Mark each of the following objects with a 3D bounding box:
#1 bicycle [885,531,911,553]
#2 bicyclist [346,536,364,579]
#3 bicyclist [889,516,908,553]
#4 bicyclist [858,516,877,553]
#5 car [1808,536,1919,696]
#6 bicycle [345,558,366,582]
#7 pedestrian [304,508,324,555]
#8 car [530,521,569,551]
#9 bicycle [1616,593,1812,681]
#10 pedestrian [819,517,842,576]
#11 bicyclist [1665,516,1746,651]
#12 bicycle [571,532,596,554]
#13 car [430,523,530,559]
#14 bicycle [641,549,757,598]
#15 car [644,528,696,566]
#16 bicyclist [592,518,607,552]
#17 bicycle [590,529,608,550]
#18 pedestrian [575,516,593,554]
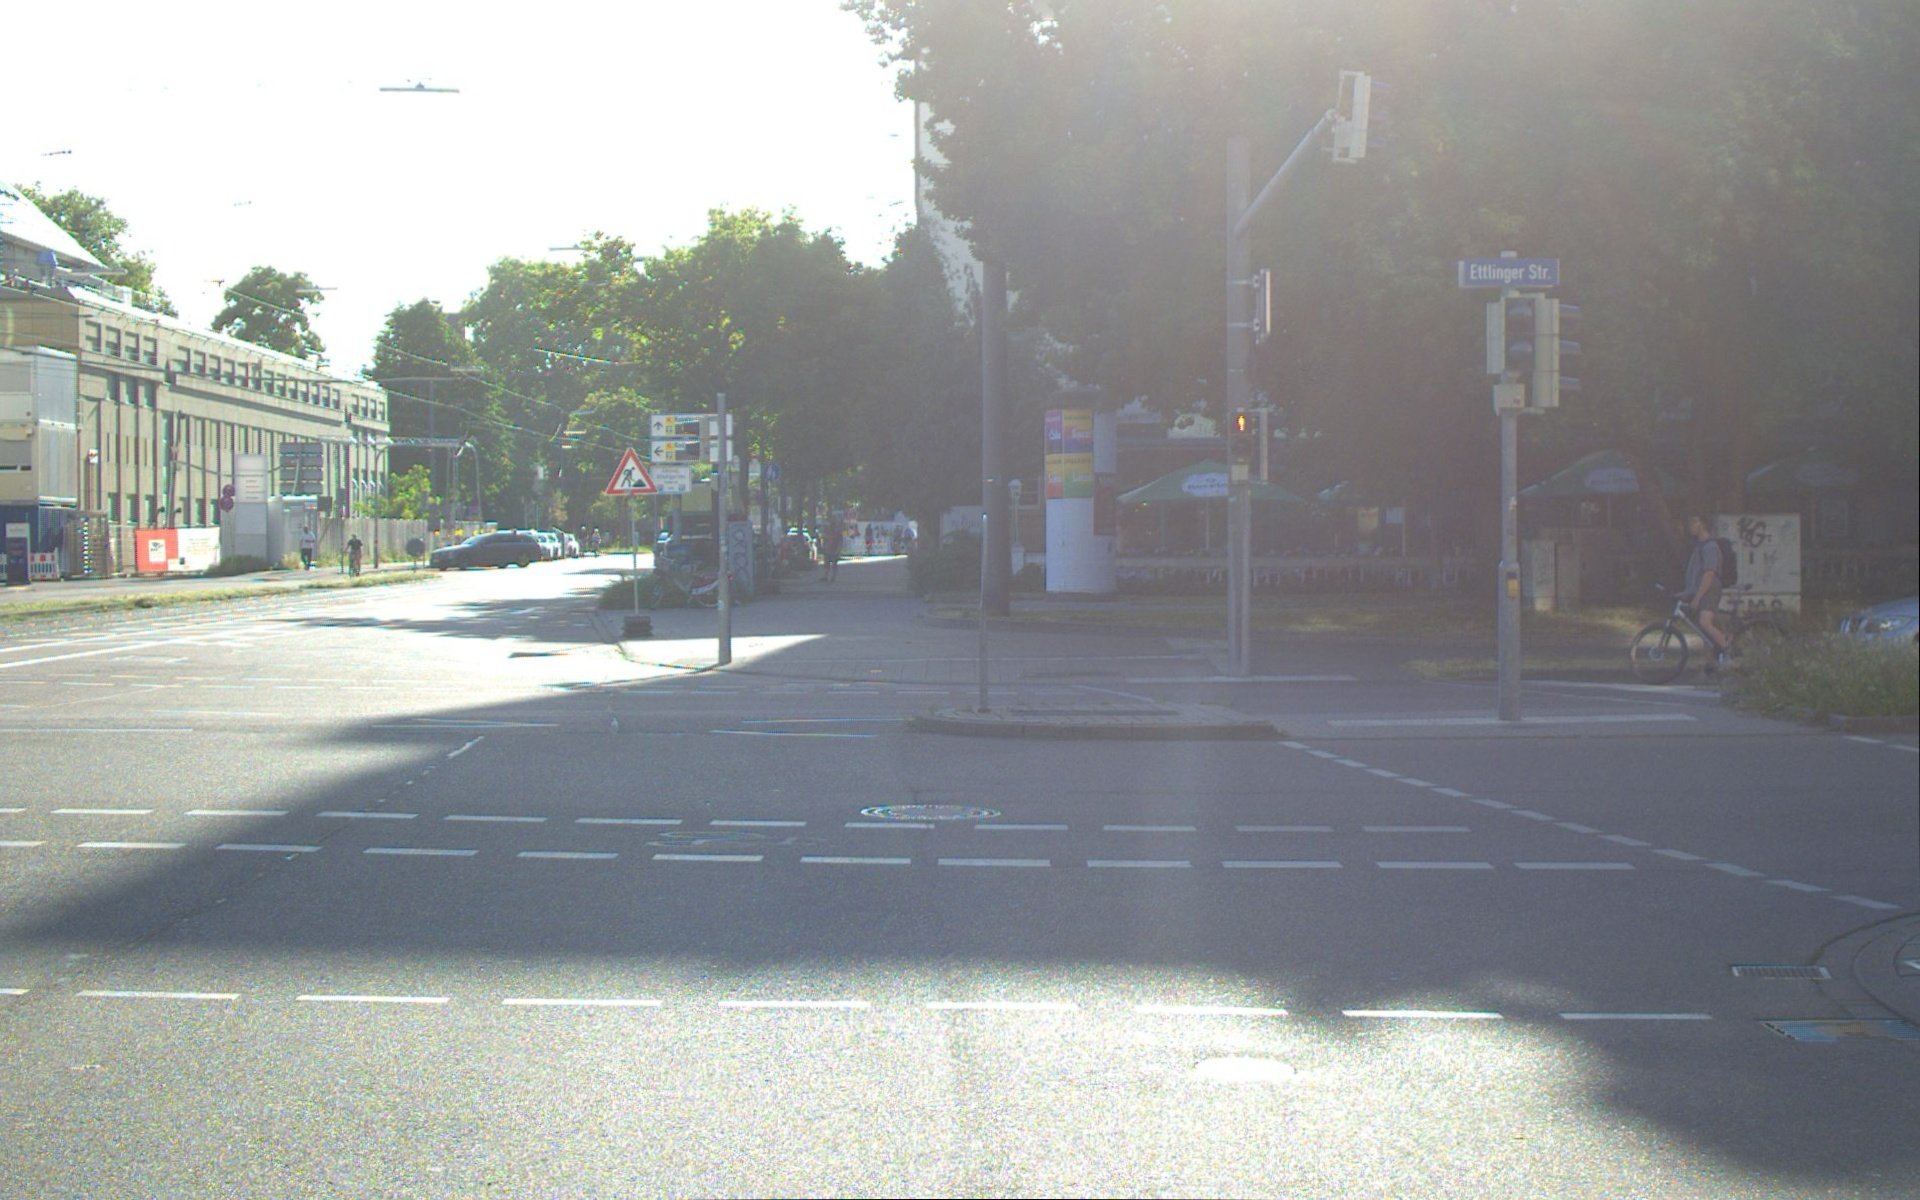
[{"bbox_3d":[-3.363,-3.152,187.047,0.890,1.215,2.794,1,1,-12],"label":"bicycle"},{"bbox_3d":[-21.352,-1.512,121.363,0.494,1.493,0.666,-1,1,2],"label":"bicyclist"},{"bbox_3d":[-3.349,-3.547,186.963,0.890,2.007,0.749,1,0,-12],"label":"bicyclist"},{"bbox_3d":[-5.050,-3.568,186.738,0.890,2.007,0.749,1,0,-12],"label":"bicyclist"},{"bbox_3d":[10.832,0.173,33.581,4.576,1.511,2.000,1,1,0],"label":"car"},{"bbox_3d":[-21.352,-1.060,121.383,0.494,0.836,1.156,-1,1,2],"label":"bicycle"},{"bbox_3d":[-25.566,-2.712,136.124,0.589,1.883,0.477,1,0,29],"label":"pedestrian"},{"bbox_3d":[-23.249,-3.627,194.700,1.993,1.638,4.001,-1,1,-4],"label":"car"},{"bbox_3d":[7.968,0.386,36.388,1.944,0.886,0.718,1,0,6],"label":"bicycle"},{"bbox_3d":[-3.681,-1.516,97.710,0.576,1.683,0.585,-1,1,-8],"label":"pedestrian"},{"bbox_3d":[7.886,-0.178,36.387,0.747,1.401,0.702,1,0,6],"label":"bicyclist"},{"bbox_3d":[-20.834,-3.134,190.340,0.751,1.201,3.107,1,1,5],"label":"bicycle"},{"bbox_3d":[-21.651,-2.648,155.025,3.987,1.593,2.000,-1,1,-29],"label":"car"},{"bbox_3d":[-5.110,-0.522,67.229,2.244,0.937,0.654,-1,1,-5],"label":"bicycle"},{"bbox_3d":[-12.704,-2.315,150.878,1.993,1.634,4.000,1,1,-1],"label":"car"},{"bbox_3d":[-20.546,-3.712,195.788,0.750,1.913,1.215,1,0,-2],"label":"bicyclist"},{"bbox_3d":[-20.552,-3.453,195.911,0.750,1.201,3.108,1,1,-2],"label":"bicycle"},{"bbox_3d":[-20.822,-3.586,190.331,0.751,2.056,1.050,1,0,5],"label":"pedestrian"}]
